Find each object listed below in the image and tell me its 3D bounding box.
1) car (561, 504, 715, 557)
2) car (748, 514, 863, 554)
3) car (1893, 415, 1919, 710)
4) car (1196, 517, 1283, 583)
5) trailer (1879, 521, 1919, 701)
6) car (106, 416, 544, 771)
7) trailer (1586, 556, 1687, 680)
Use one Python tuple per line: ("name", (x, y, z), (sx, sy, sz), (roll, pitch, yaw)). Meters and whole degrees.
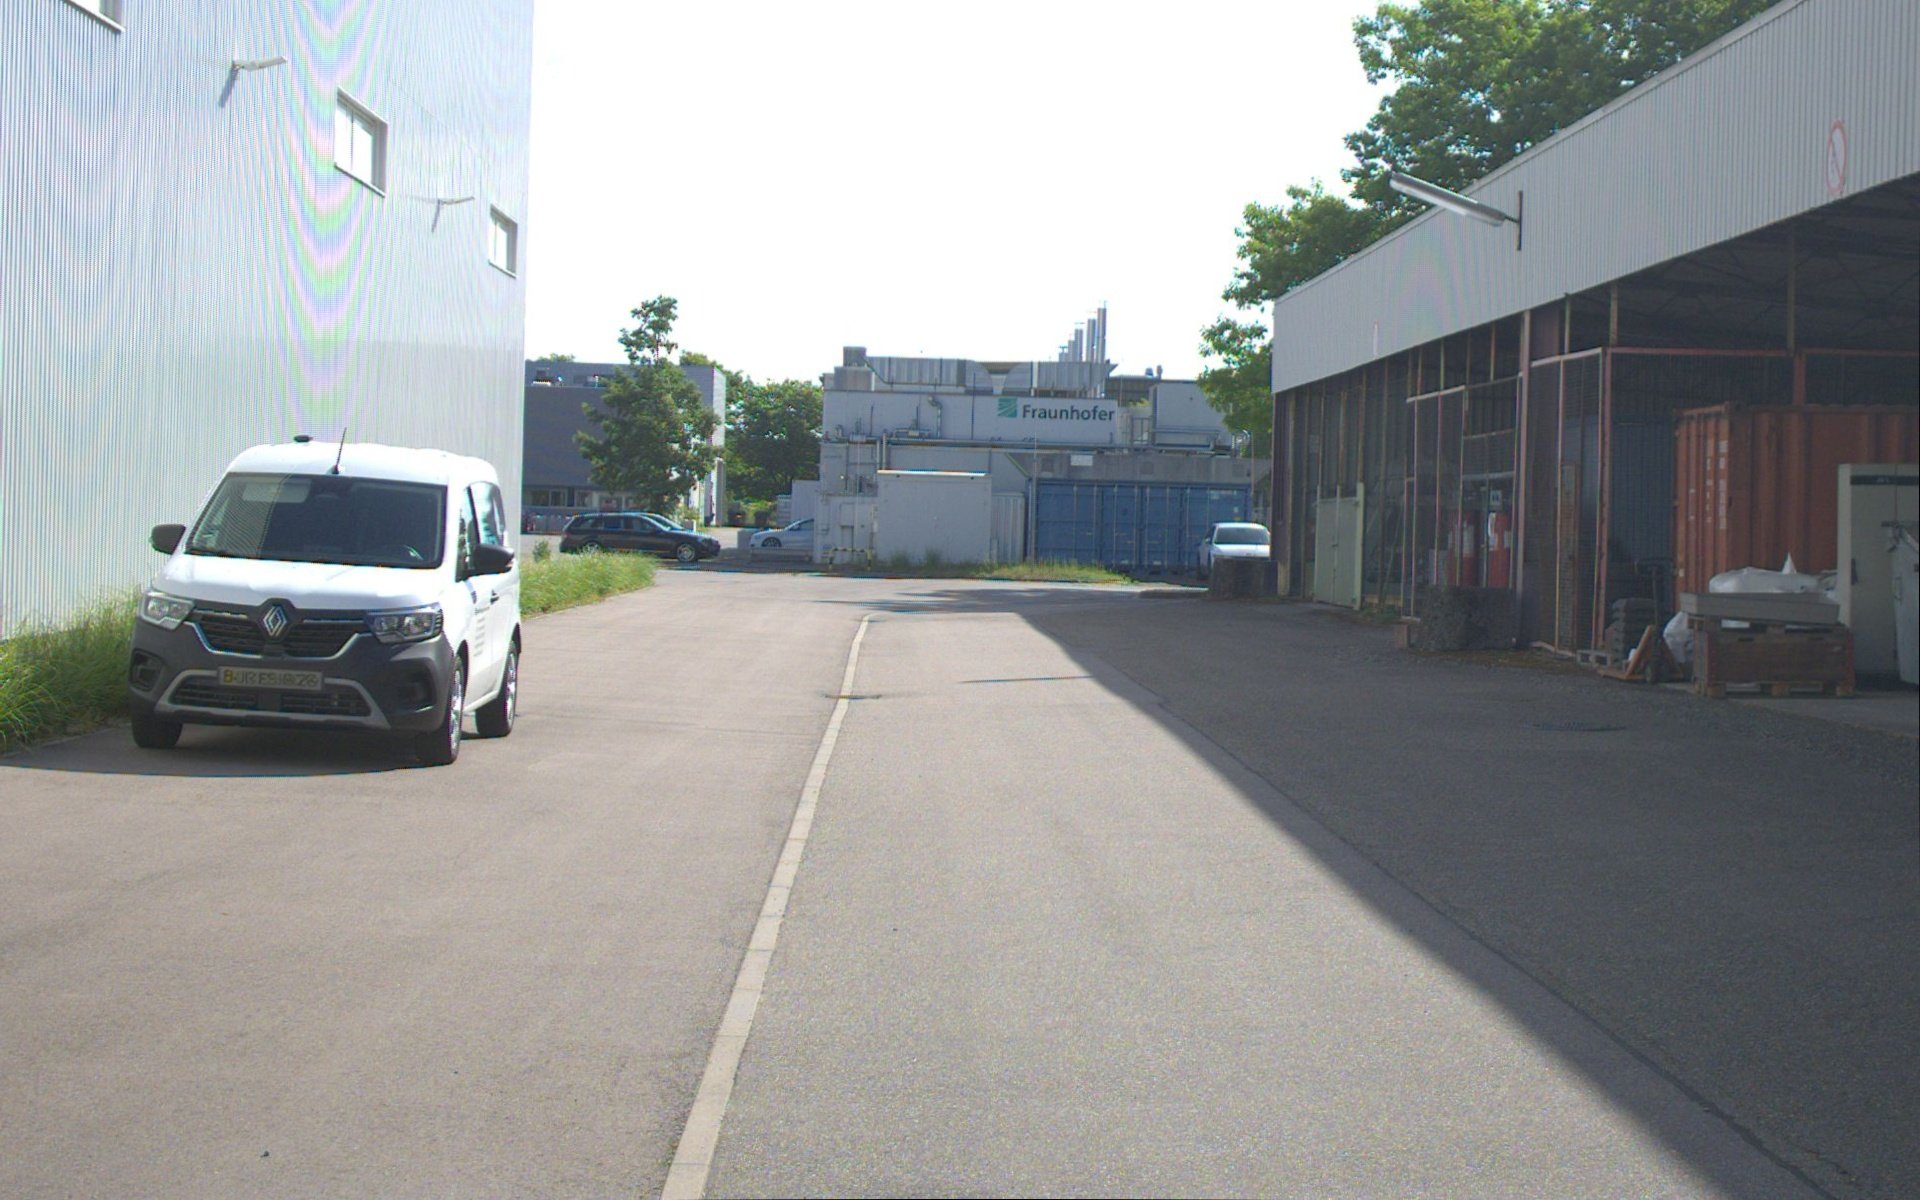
("car", (-9.576, -2.076, 102.604), (4.447, 1.525, 1.824), (1, 1, -1))
("car", (-5.846, -2.511, 130.536), (4.302, 1.452, 1.824), (1, 1, -1))
("car", (10.058, -0.235, 26.049), (5.332, 2.273, 2.153), (1, 1, -1))
("car", (7.315, -1.328, 90.317), (1.979, 1.597, 4.378), (0, 3, 1))
("trailer", (8.883, 0.079, 28.659), (2.038, 1.461, 1.738), (0, 1, 3))
("car", (-3.681, -0.071, 20.718), (1.783, 1.809, 4.602), (3, 1, -1))
("trailer", (6.237, 0.151, 31.746), (0.551, 1.114, 1.547), (0, 1, -3))
